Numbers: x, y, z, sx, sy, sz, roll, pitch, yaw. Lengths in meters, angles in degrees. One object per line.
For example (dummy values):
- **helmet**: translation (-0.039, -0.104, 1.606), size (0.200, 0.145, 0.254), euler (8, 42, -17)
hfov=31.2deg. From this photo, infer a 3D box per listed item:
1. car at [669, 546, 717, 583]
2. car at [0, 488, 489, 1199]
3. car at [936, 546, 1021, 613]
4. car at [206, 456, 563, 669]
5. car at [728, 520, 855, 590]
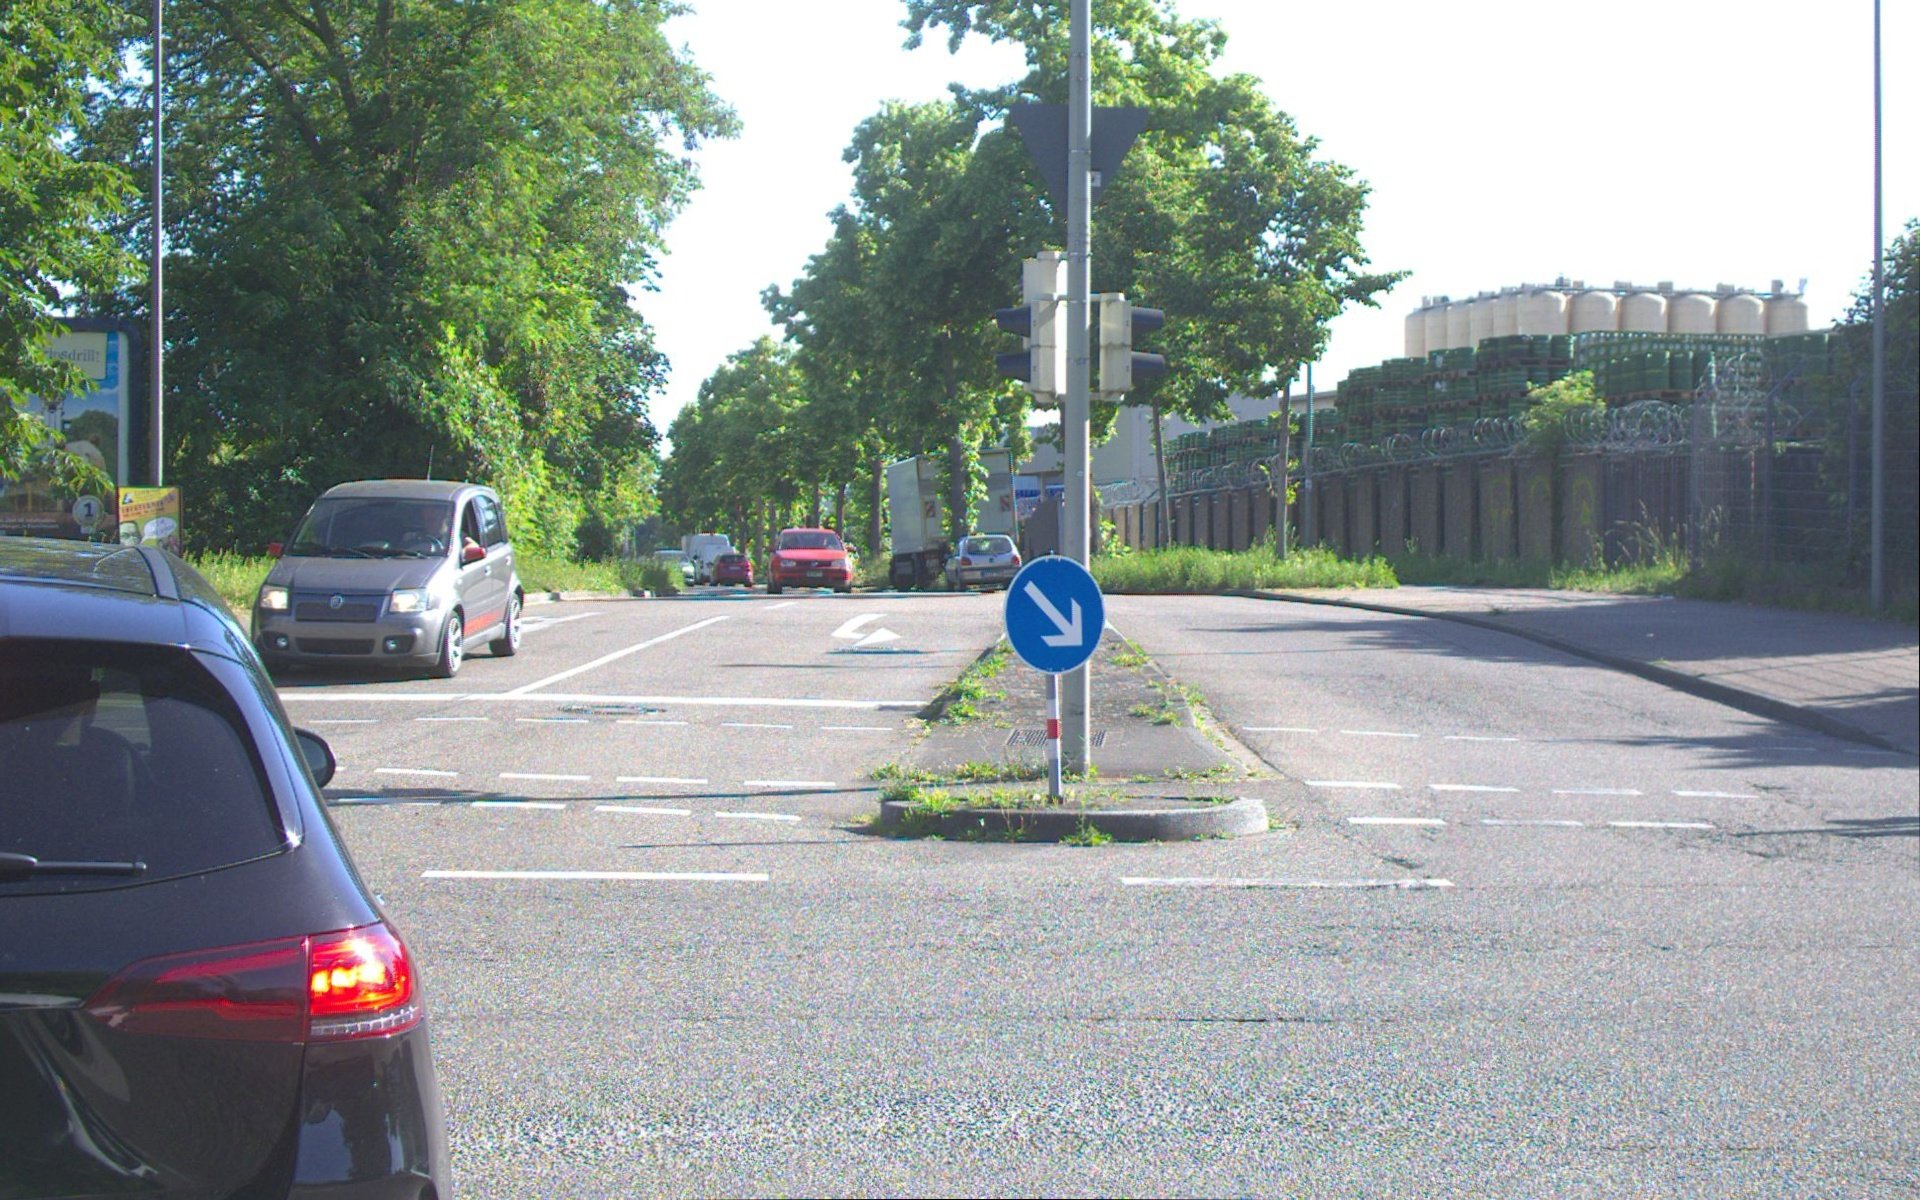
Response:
- **car**: translation (-10.553, -1.416, 135.763), size (1.857, 1.464, 4.139), euler (0, 1, -5)
- **car**: translation (-1.961, 0.615, 6.150), size (1.769, 1.587, 3.990), euler (0, 1, -14)
- **car**: translation (0.434, -0.517, 84.335), size (1.688, 1.626, 3.131), euler (0, 1, -8)
- **car**: translation (-4.658, -0.319, 28.427), size (1.805, 1.634, 3.999), euler (0, 1, 8)
- **car**: translation (-3.702, -0.986, 74.970), size (1.857, 1.464, 4.140), euler (0, 1, -16)
